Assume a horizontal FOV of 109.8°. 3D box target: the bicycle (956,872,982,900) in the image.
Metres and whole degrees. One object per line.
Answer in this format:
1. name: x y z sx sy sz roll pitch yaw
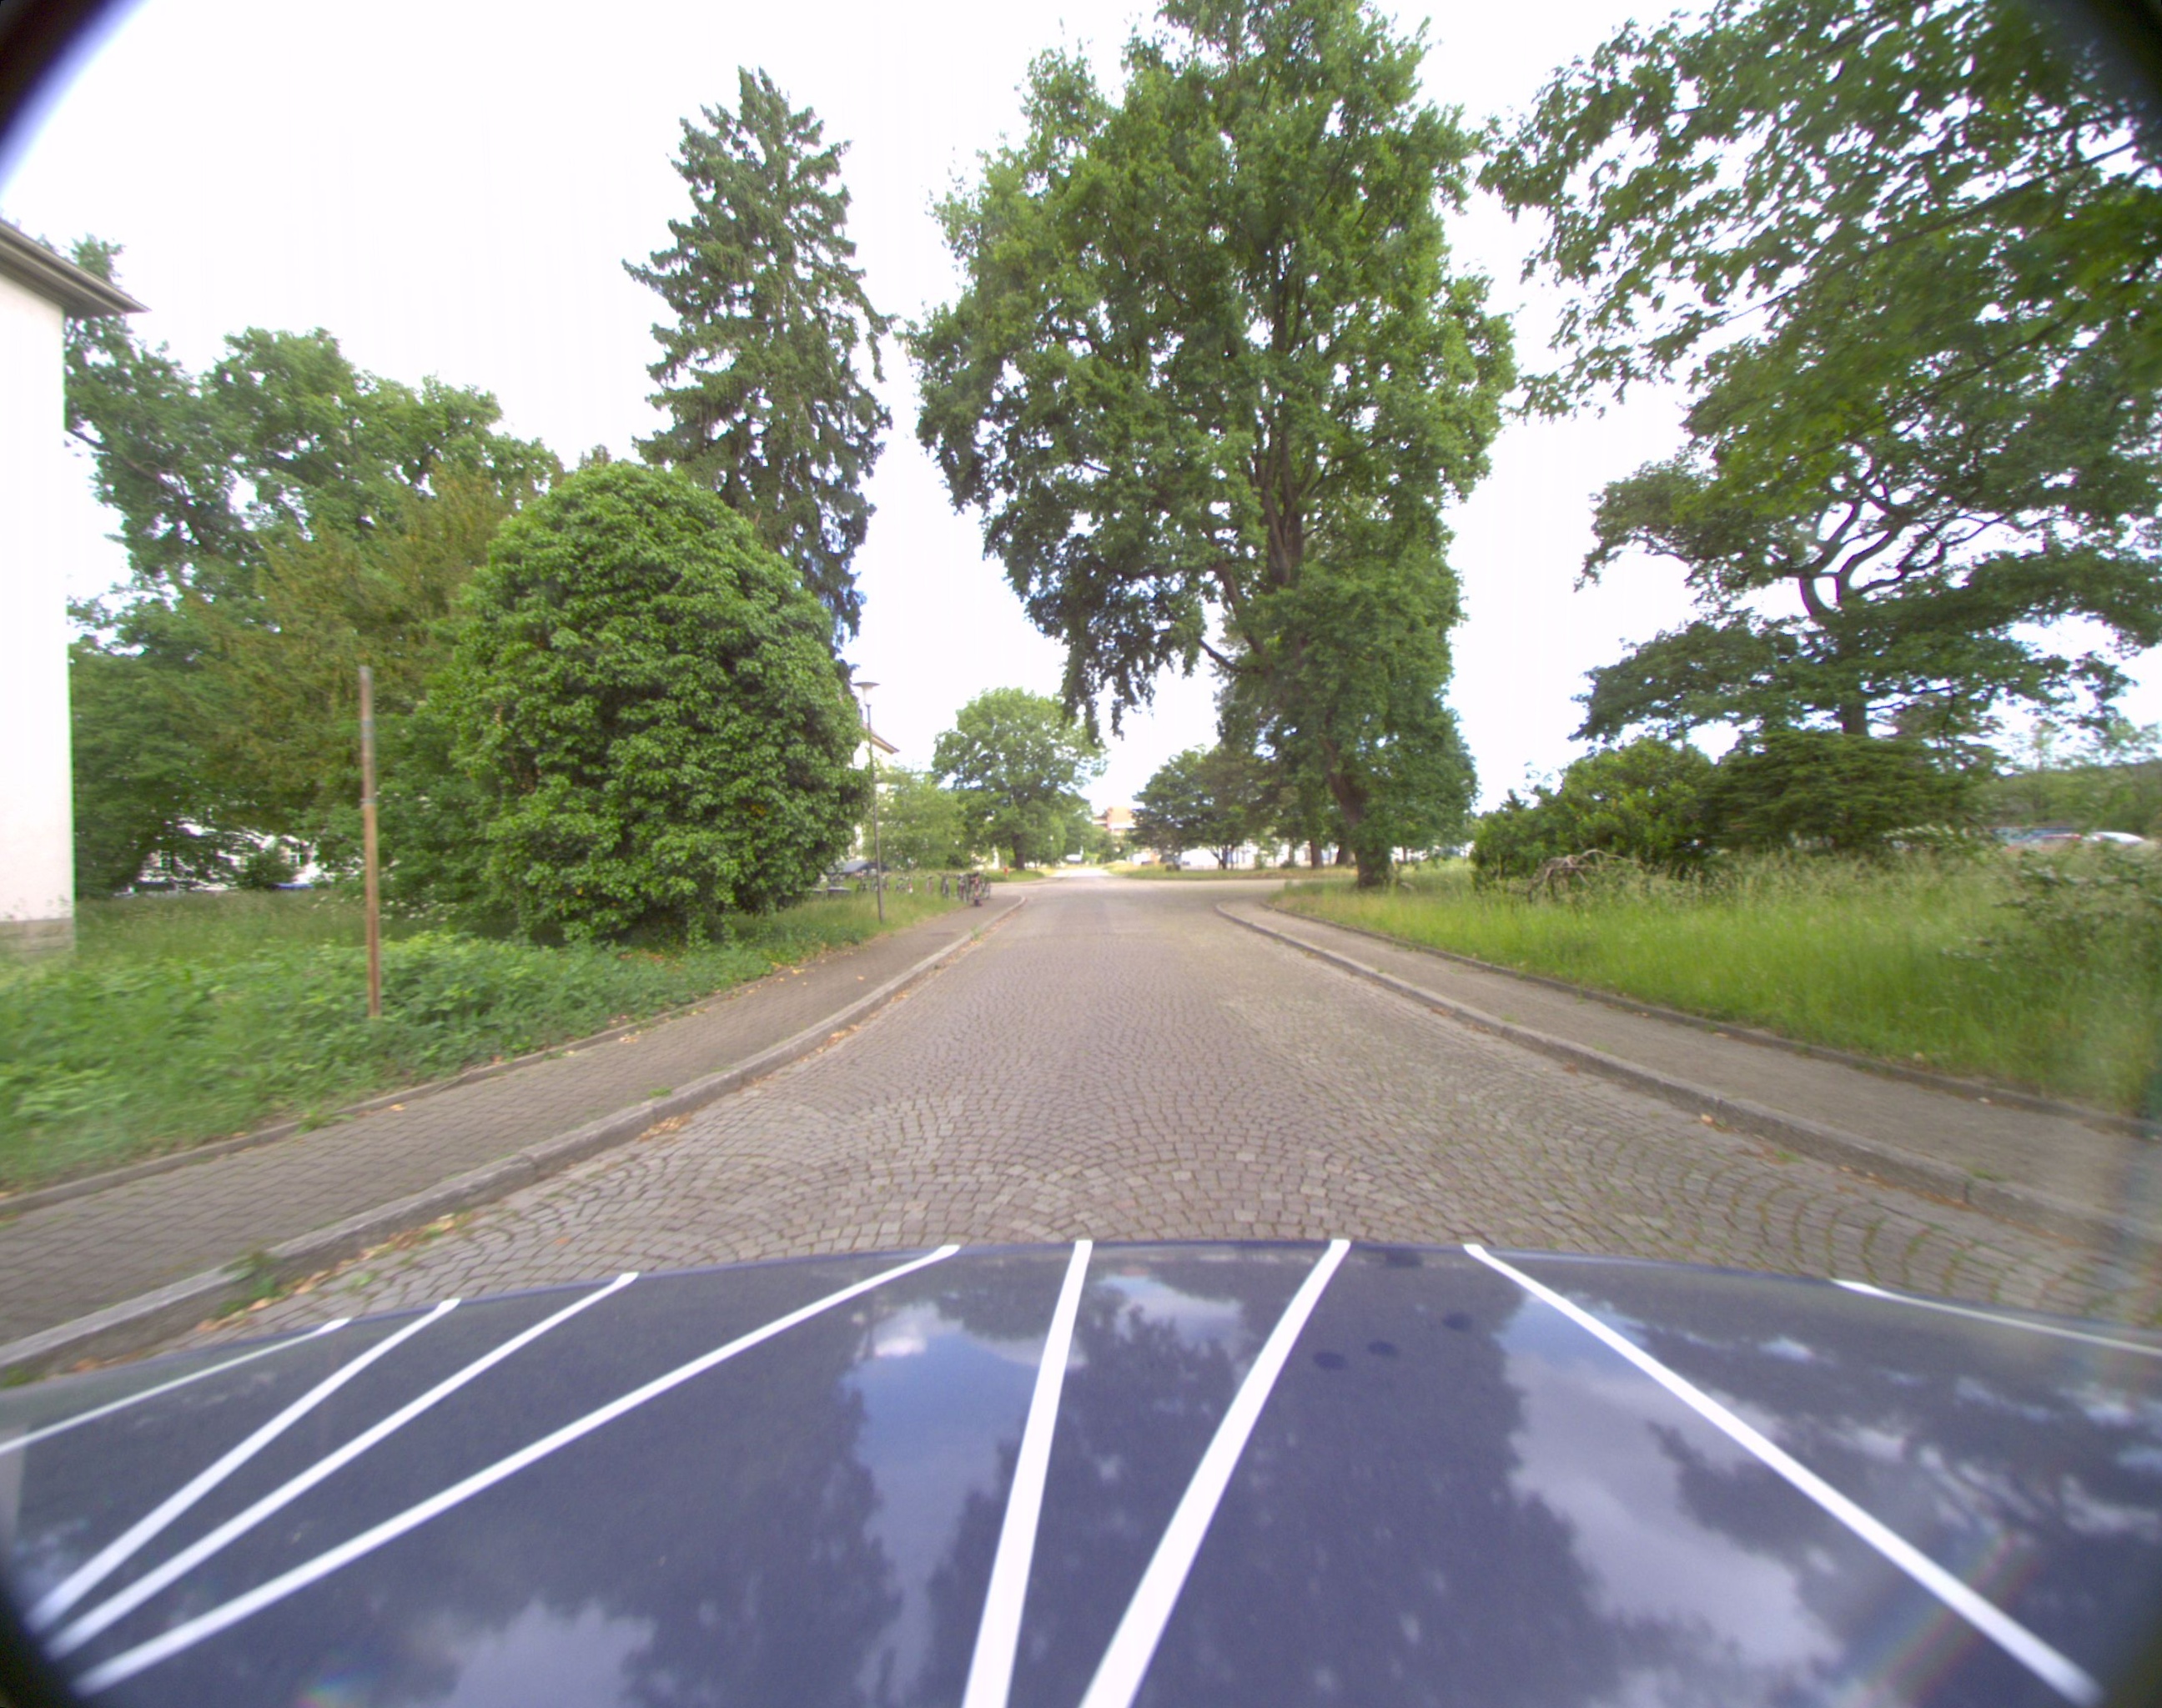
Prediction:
1. bicycle: -4.754 1.341 32.239 0.478 1.068 1.618 -3 2 -30

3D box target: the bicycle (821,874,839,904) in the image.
1. bicycle: -10.053 1.389 30.456 0.442 1.105 1.650 -2 0 -10

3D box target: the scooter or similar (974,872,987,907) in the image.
1. scooter or similar: -3.592 1.266 27.138 0.357 1.202 1.137 -2 0 -4

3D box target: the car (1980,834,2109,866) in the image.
1. car: 46.957 -0.159 37.157 1.576 1.412 3.664 -2 -2 -1

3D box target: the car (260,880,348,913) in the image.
1. car: -42.073 2.260 41.251 1.383 1.556 3.249 -2 0 0

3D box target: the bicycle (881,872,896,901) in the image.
1. bicycle: -7.878 1.313 31.062 0.478 1.105 1.763 -2 0 -16

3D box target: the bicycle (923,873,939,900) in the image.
1. bicycle: -6.244 1.346 31.613 0.478 1.002 1.665 -2 1 -16

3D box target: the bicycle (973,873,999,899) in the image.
1. bicycle: -4.046 1.339 32.210 0.478 1.002 1.618 -3 2 -30

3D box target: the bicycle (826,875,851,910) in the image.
1. bicycle: -8.910 1.397 27.941 0.551 1.164 1.753 -2 0 -8

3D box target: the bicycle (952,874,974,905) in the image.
1. bicycle: -4.422 1.303 28.375 0.552 1.108 1.767 -2 0 -17

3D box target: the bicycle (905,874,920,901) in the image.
1. bicycle: -7.016 1.373 31.532 0.478 1.002 1.665 -2 1 -16

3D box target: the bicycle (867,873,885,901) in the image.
1. bicycle: -8.413 1.333 31.107 0.478 1.105 1.762 -2 0 -21

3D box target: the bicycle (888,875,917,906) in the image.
1. bicycle: -6.532 1.321 27.787 0.619 1.059 1.822 -2 0 -25

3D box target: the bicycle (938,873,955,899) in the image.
1. bicycle: -5.631 1.325 31.720 0.478 1.002 1.665 -2 1 -16

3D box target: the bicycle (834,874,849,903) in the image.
1. bicycle: -9.656 1.372 30.686 0.478 1.105 1.763 -2 0 -16

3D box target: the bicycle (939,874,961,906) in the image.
1. bicycle: -4.875 1.316 28.172 0.552 1.108 1.802 -2 0 -17

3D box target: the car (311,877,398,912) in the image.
1. car: -38.834 2.128 40.713 1.439 1.651 3.249 -2 0 0

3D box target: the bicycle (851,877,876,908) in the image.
1. bicycle: -7.830 1.361 27.308 0.552 1.059 1.751 -2 0 -25
